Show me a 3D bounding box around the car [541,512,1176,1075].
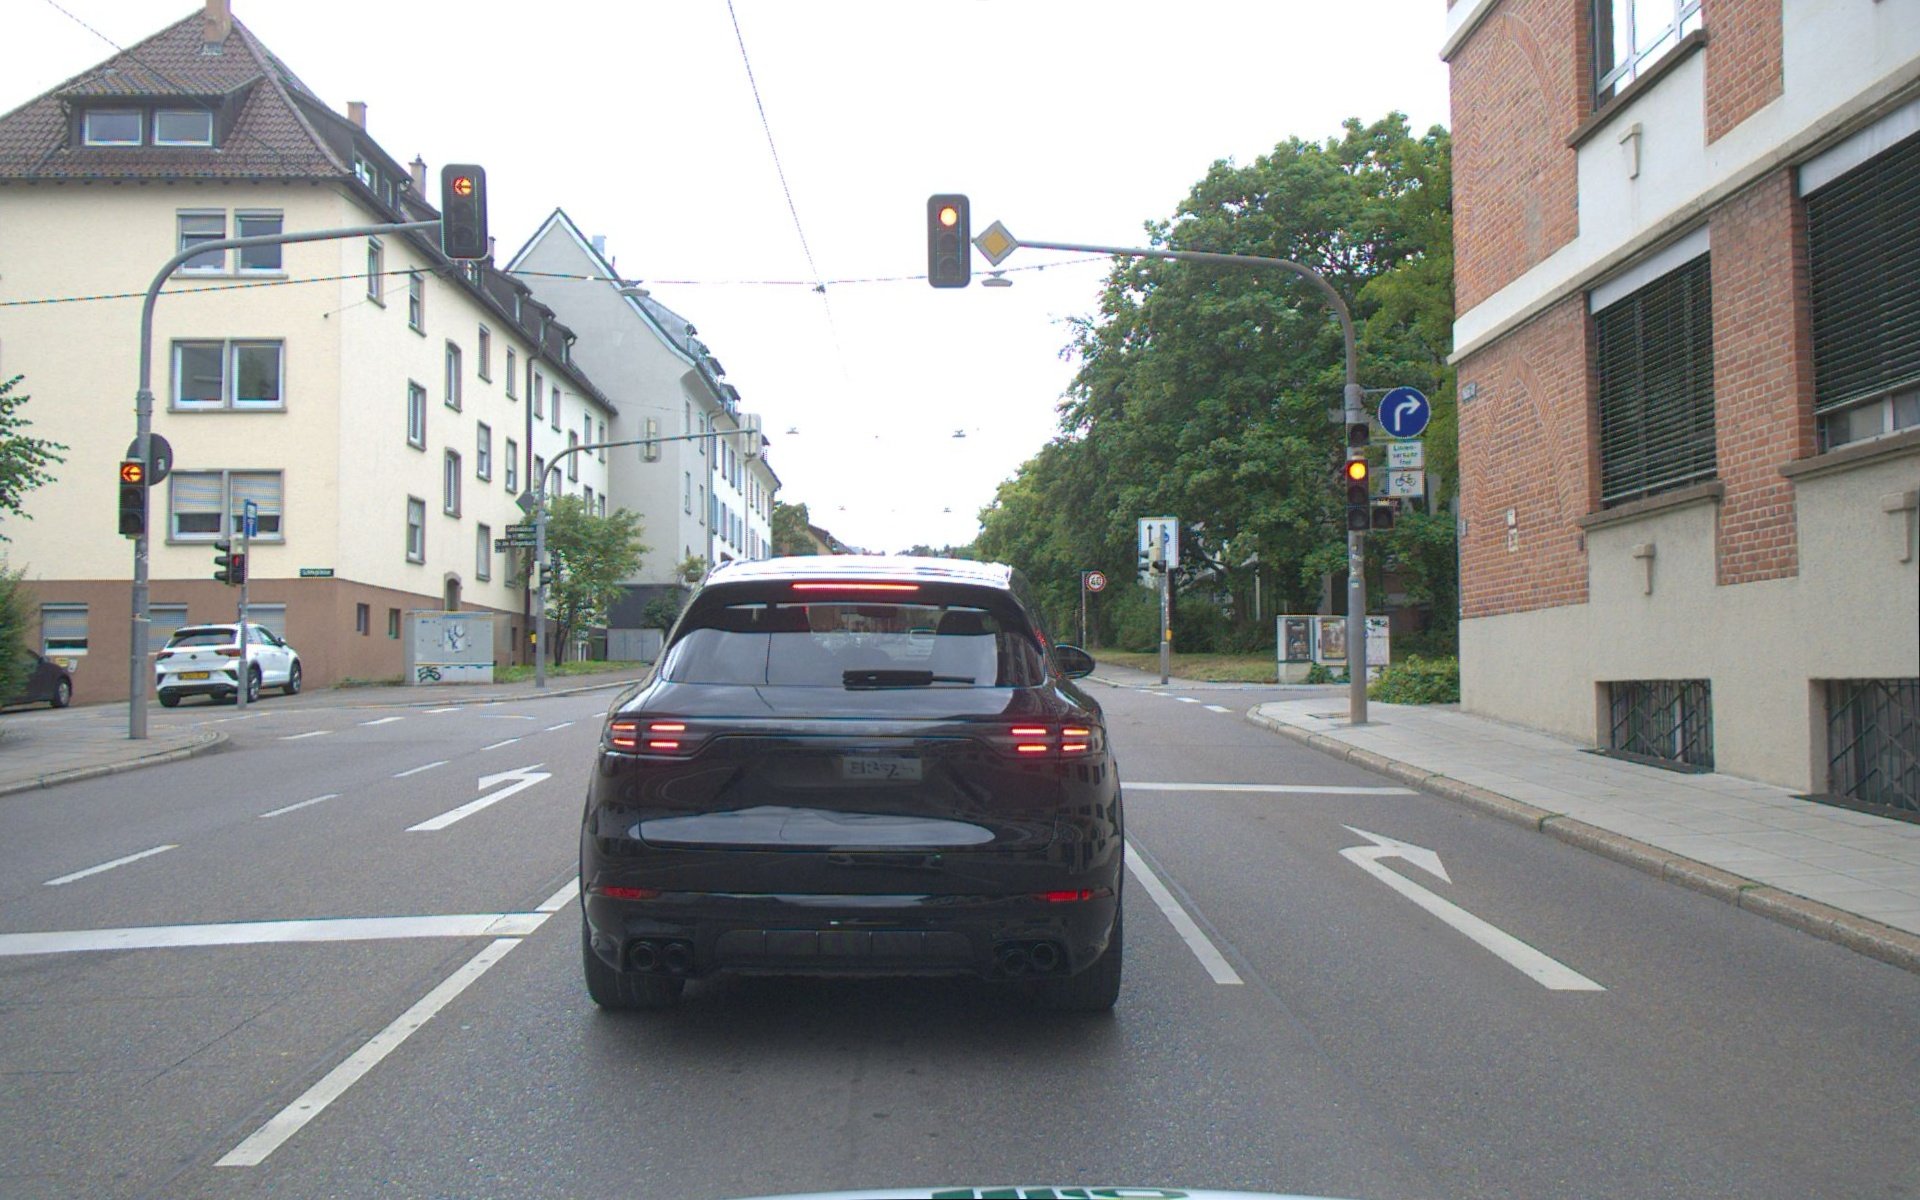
[{"bbox_3d":[-0.338,0.615,7.164,1.953,1.726,3.999,1,0,-1],"label":"car"}]

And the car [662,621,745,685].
[{"bbox_3d":[-6.994,1.428,45.445,1.630,1.545,3.739,-4,0,0],"label":"car"}]

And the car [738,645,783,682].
[{"bbox_3d":[-8.274,2.626,68.959,1.637,1.386,3.997,0,0,-4],"label":"car"}]

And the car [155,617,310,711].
[{"bbox_3d":[-14.726,1.248,33.703,1.638,1.691,3.995,-3,0,-5],"label":"car"}]

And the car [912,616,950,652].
[{"bbox_3d":[-1.352,1.542,76.506,1.654,1.579,3.887,1,0,-2],"label":"car"}]

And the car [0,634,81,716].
[{"bbox_3d":[-19.699,1.549,33.459,1.636,1.573,4.100,-3,0,-1],"label":"car"}]
